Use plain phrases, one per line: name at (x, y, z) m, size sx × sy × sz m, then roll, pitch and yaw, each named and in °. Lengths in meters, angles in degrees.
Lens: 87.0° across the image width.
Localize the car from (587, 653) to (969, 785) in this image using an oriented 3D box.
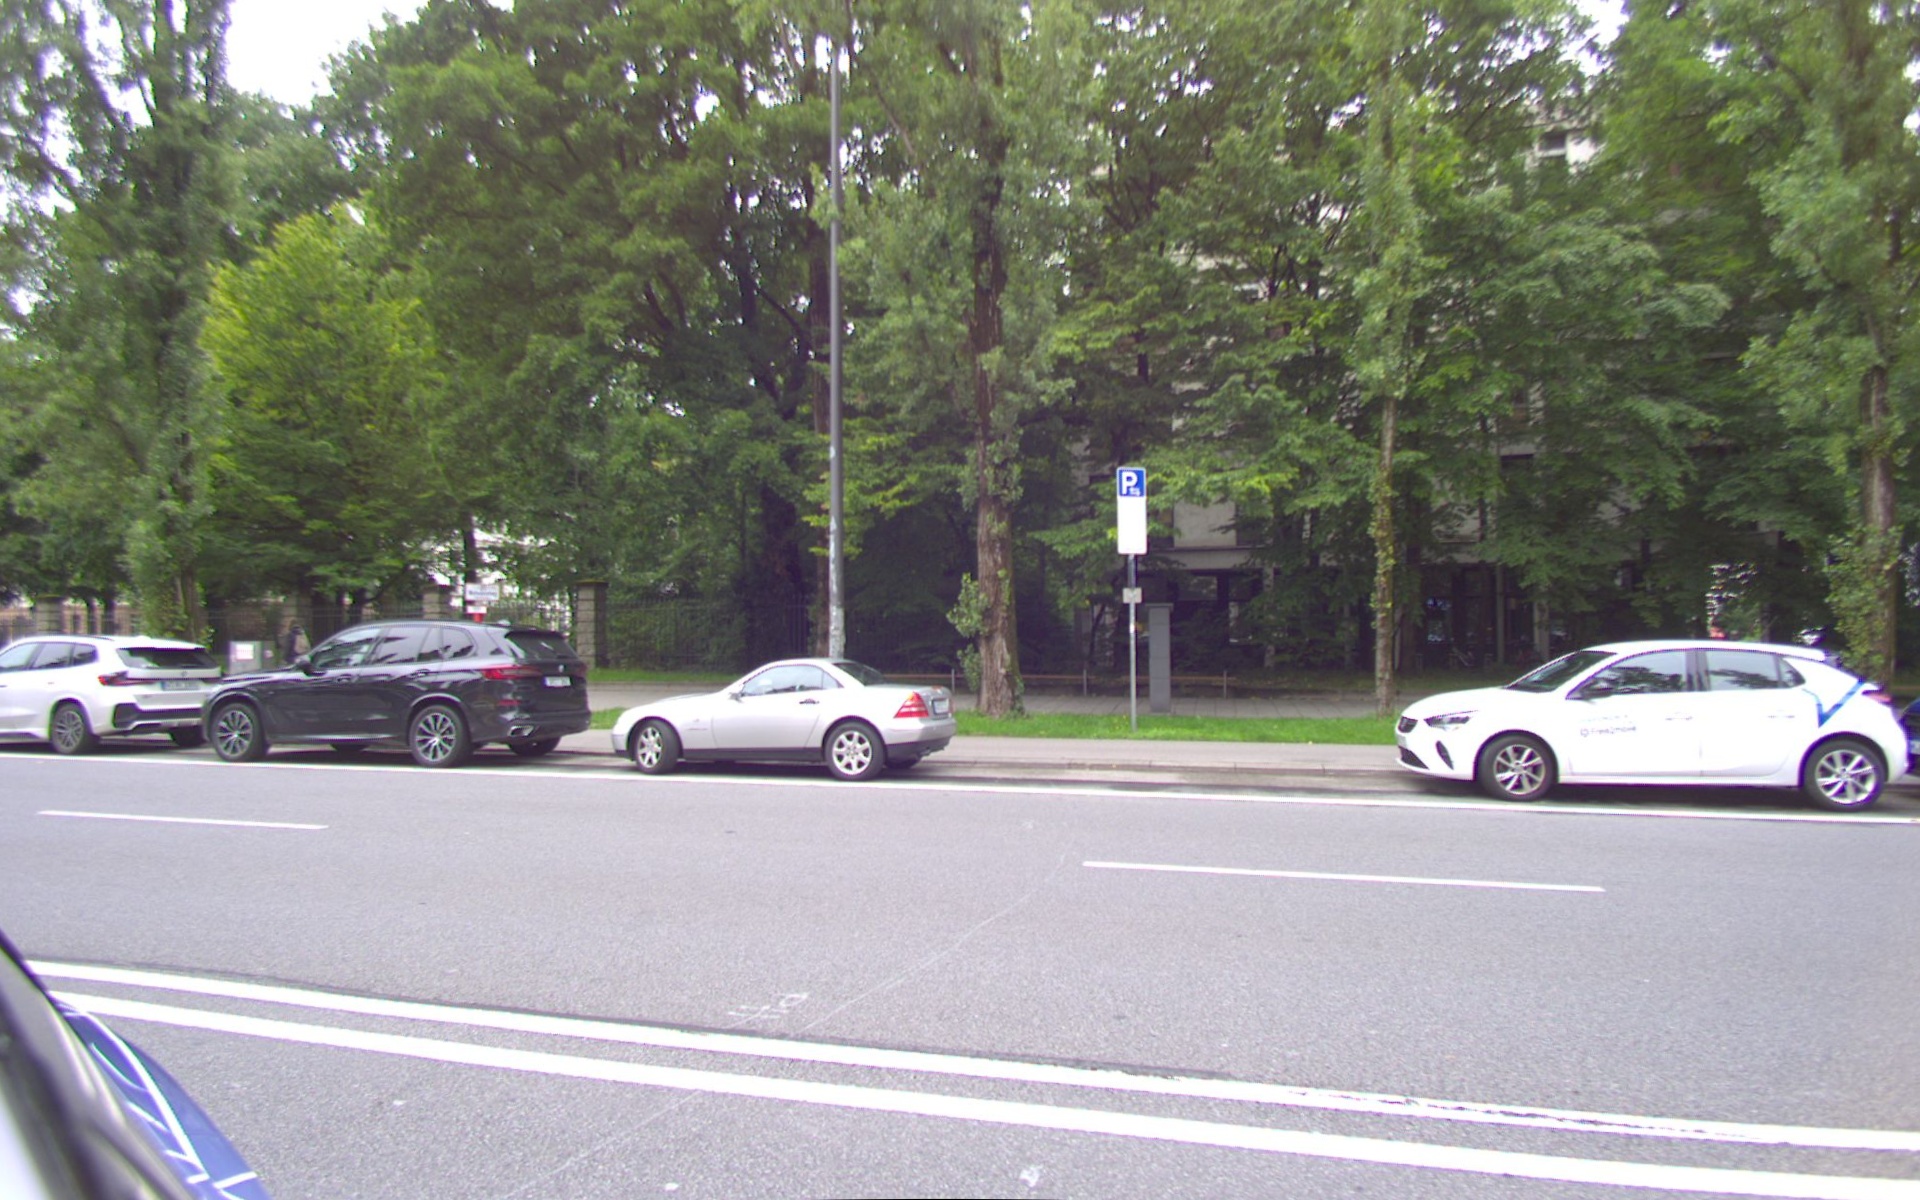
car at (-2.025, 1.274, 11.480) m, size 3.992 × 1.315 × 1.577 m, roll -1°, pitch -3°, yaw 16°

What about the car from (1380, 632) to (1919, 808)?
car at (6.222, 1.046, 9.480) m, size 3.966 × 1.424 × 1.683 m, roll -1°, pitch -3°, yaw 14°

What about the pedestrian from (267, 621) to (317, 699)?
pedestrian at (-15.926, 1.418, 24.143) m, size 0.768 × 1.829 × 0.639 m, roll -1°, pitch -2°, yaw 15°

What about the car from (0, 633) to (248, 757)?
car at (-12.772, 1.330, 14.523) m, size 4.420 × 1.601 × 1.782 m, roll -1°, pitch -4°, yaw 16°

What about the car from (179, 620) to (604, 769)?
car at (-7.140, 1.172, 12.856) m, size 4.672 × 1.671 × 1.878 m, roll -1°, pitch -4°, yaw 14°

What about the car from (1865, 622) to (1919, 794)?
car at (10.480, 0.919, 8.372) m, size 4.072 × 1.530 × 1.743 m, roll -1°, pitch -3°, yaw 10°
